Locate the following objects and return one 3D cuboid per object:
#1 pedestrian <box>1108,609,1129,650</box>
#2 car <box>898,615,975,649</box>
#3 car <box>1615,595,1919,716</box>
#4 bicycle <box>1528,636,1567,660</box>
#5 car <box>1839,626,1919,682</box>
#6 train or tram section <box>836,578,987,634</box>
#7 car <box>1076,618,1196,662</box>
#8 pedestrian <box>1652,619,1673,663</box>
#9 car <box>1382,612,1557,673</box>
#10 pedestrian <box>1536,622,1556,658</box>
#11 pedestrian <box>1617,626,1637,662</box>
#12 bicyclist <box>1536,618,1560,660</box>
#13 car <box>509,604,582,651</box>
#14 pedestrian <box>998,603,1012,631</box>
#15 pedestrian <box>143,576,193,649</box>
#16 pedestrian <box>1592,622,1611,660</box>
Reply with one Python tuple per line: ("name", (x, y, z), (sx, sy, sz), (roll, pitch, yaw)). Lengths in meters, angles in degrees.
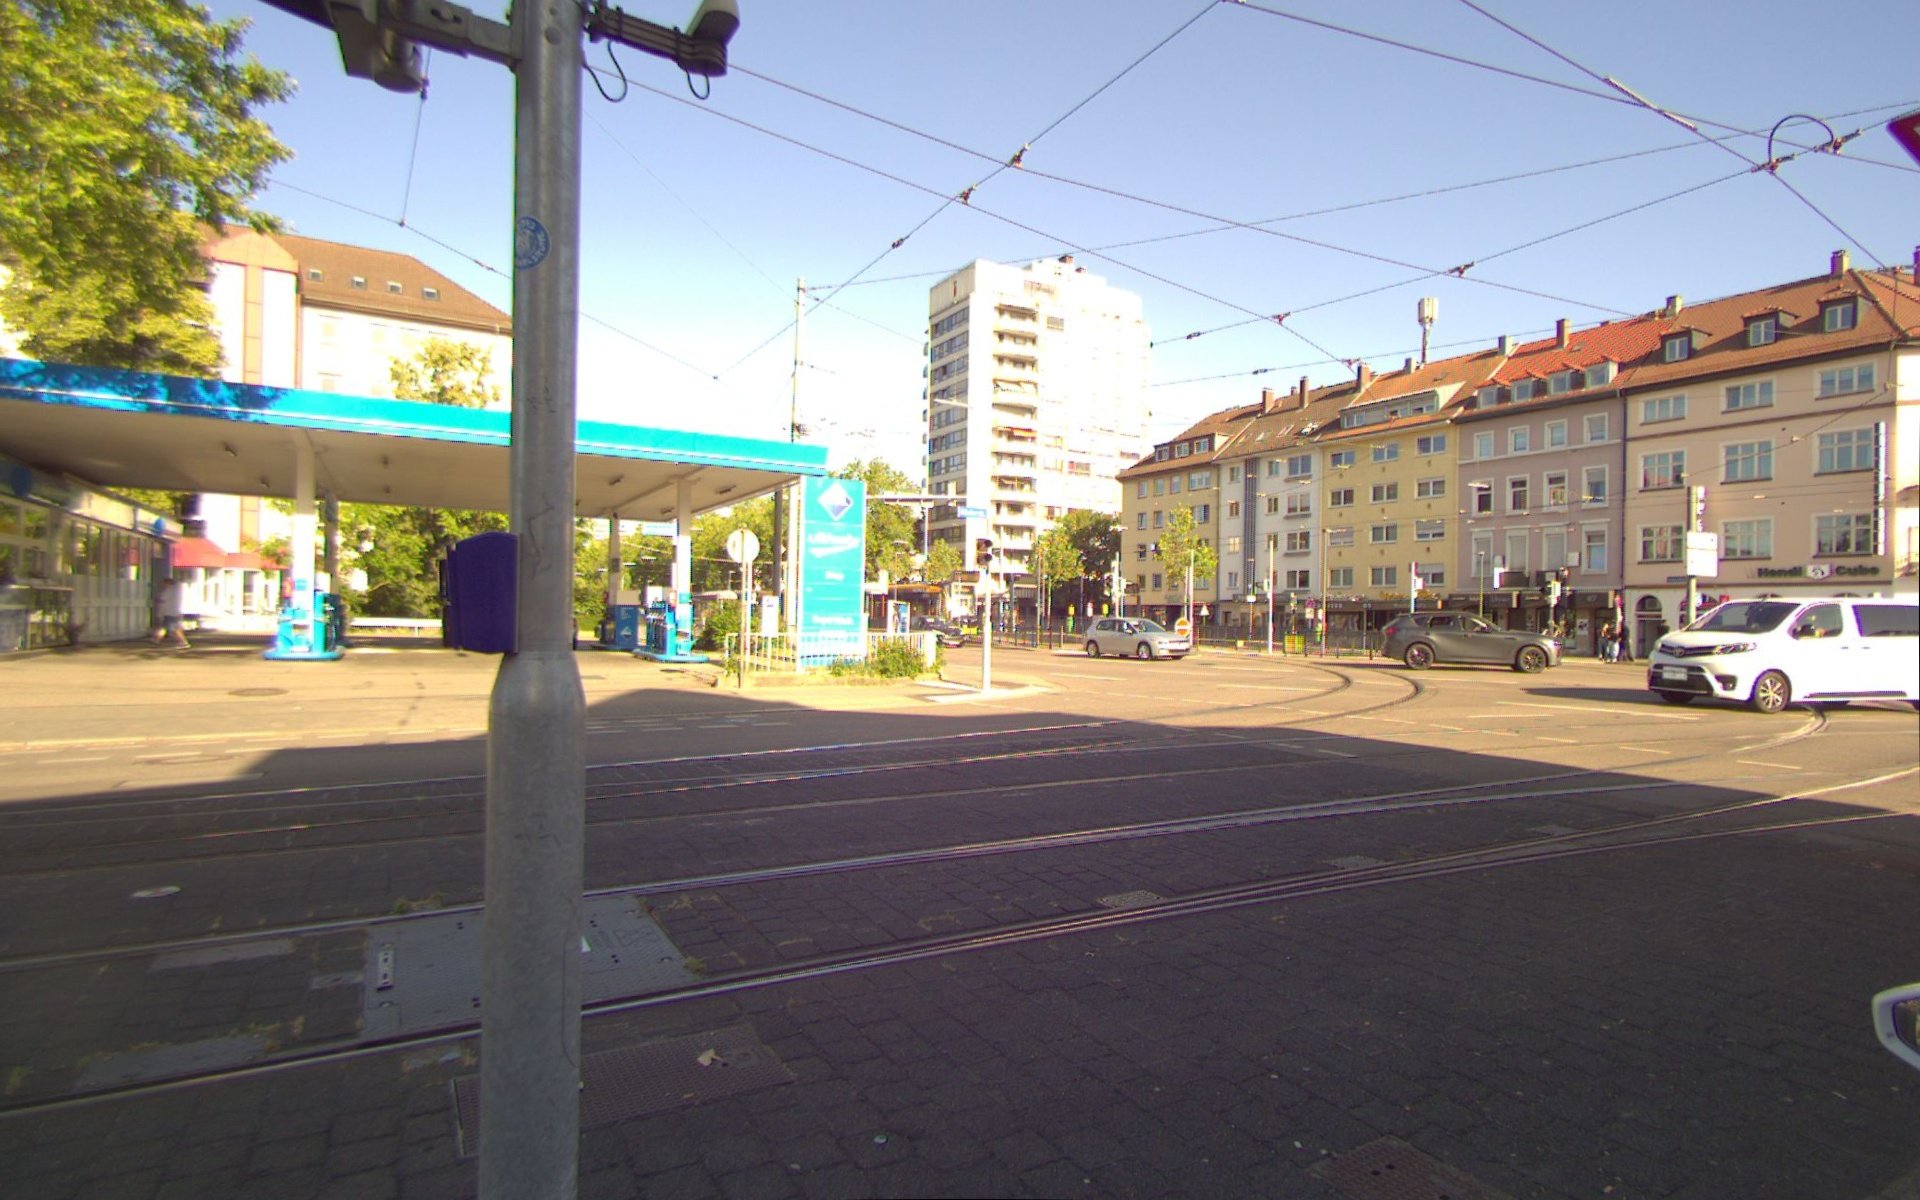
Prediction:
("pedestrian", (6.443, 1.175, 40.905), (0.750, 1.631, 0.613), (2, 0, 15))
("car", (-1.170, 1.509, 48.094), (1.976, 1.537, 4.177), (1, -1, -29))
("car", (14.292, 0.867, 17.185), (5.120, 1.879, 1.997), (0, 1, -8))
("bicycle", (26.184, 2.132, 44.768), (1.731, 1.044, 0.619), (2, 0, -25))
("car", (27.766, 1.554, 29.636), (3.877, 1.523, 1.774), (2, -1, -33))
("train or tram section", (-3.659, 0.267, 65.879), (2.821, 3.179, 16.611), (2, 0, -29))
("car", (6.113, 1.357, 35.261), (1.717, 1.408, 4.187), (1, -1, -34))
("pedestrian", (29.737, 1.720, 42.498), (0.670, 1.847, 0.523), (2, 0, -37))
("car", (14.561, 1.193, 29.016), (4.368, 1.623, 1.873), (0, -1, 23))
("pedestrian", (27.790, 1.913, 47.653), (0.609, 1.670, 0.581), (2, 0, -30))
("pedestrian", (28.761, 1.900, 43.324), (0.550, 1.512, 0.489), (2, 0, -30))
("bicyclist", (26.204, 1.735, 44.766), (0.606, 1.814, 0.619), (2, 0, -25))
("car", (-13.514, 0.859, 32.656), (1.659, 1.372, 3.559), (2, 0, -31))
("pedestrian", (3.493, 1.305, 77.956), (0.729, 2.127, 0.880), (2, 0, -21))
("pedestrian", (-19.164, 0.315, 24.322), (0.838, 1.724, 0.644), (2, -3, -31))
("pedestrian", (28.300, 1.814, 44.321), (0.492, 1.670, 0.520), (2, 0, -30))
